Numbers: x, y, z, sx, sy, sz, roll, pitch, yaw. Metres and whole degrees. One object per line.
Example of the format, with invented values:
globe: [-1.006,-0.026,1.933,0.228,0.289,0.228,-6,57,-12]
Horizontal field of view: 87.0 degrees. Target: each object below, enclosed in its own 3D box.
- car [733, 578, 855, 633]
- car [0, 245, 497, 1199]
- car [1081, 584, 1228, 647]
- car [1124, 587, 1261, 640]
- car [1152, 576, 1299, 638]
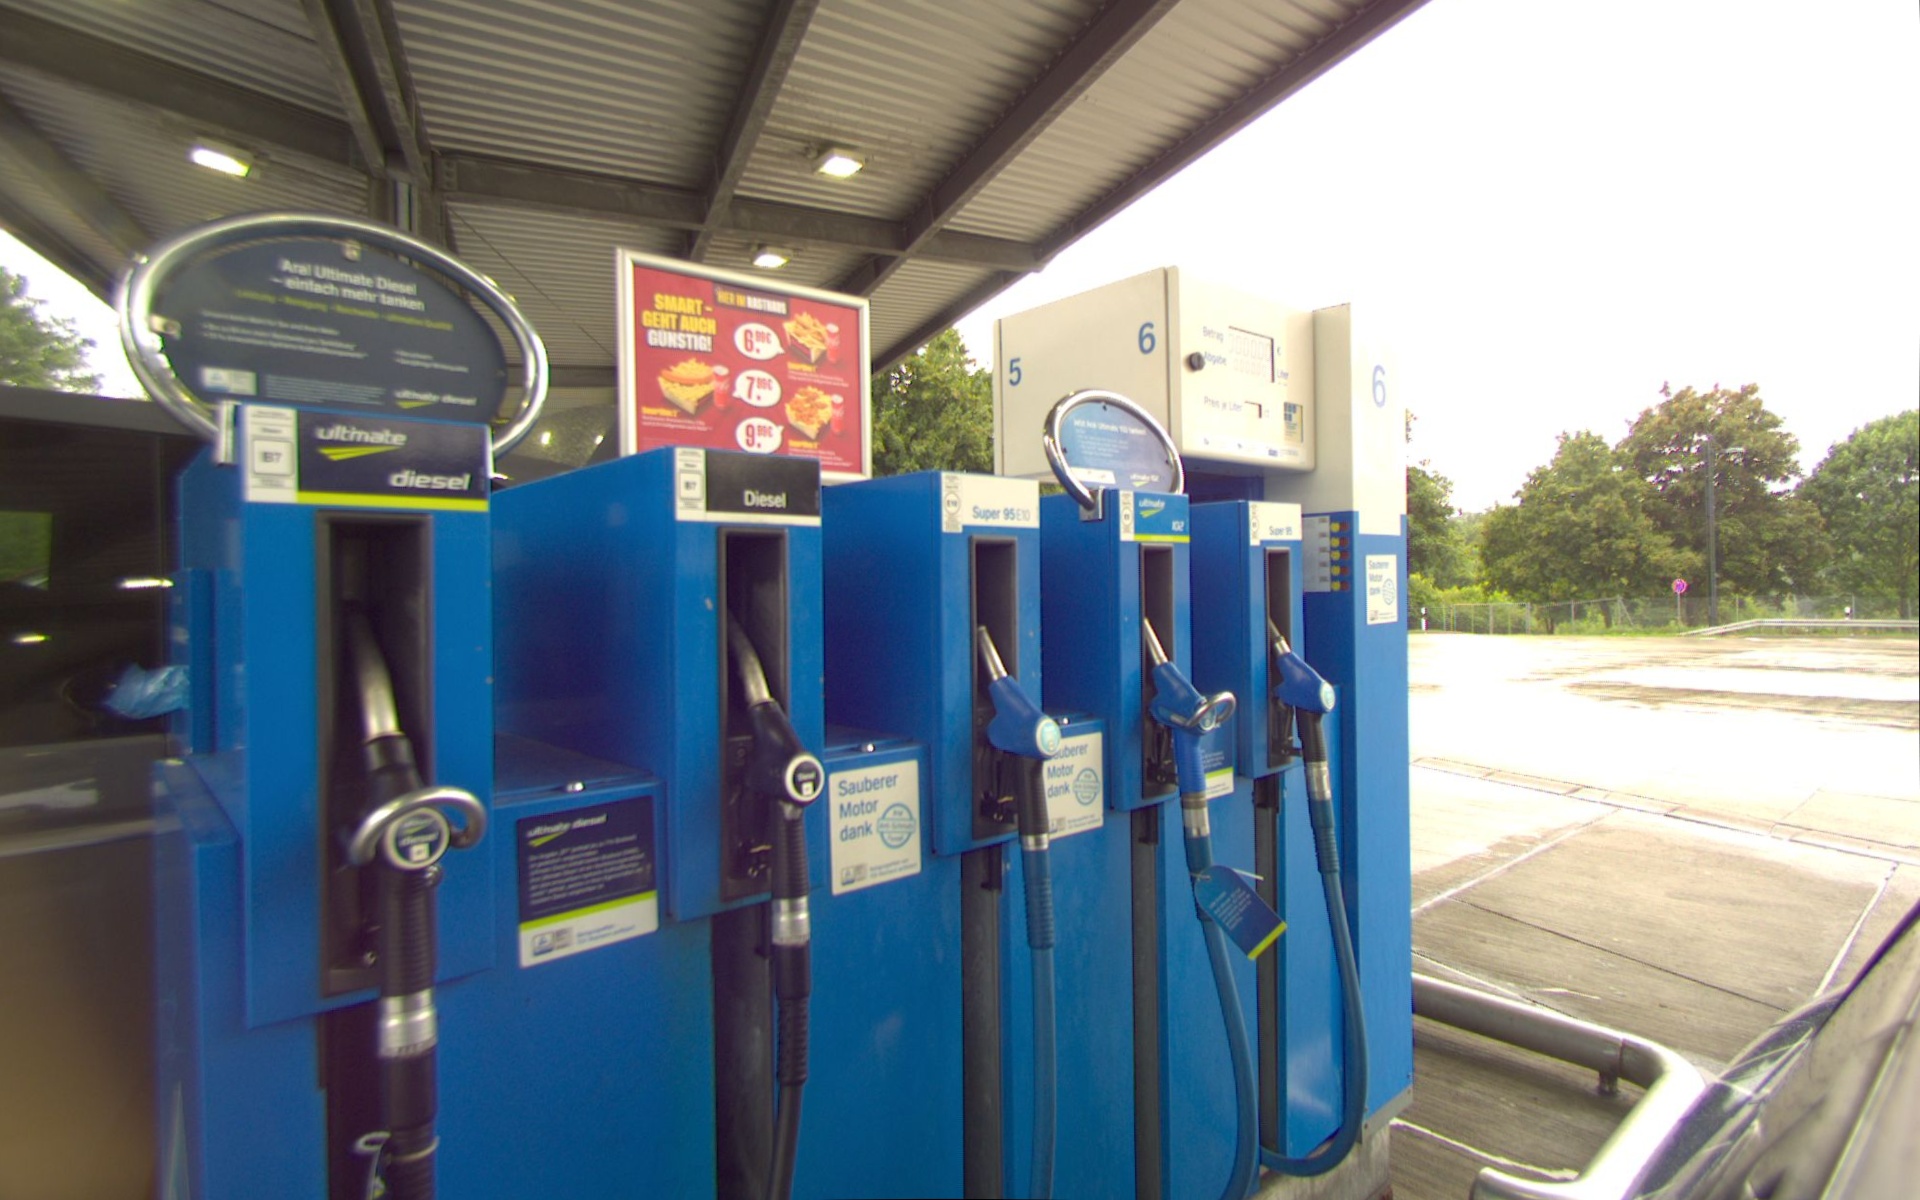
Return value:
car: [-5.521,0.151,33.430,1.967,1.683,4.170,0,0,-44]
car: [-3.025,0.417,1.481,3.930,1.973,1.819,0,0,-41]
car: [5.805,0.421,30.016,4.123,1.752,1.990,0,0,17]
car: [7.393,0.405,32.151,4.123,1.576,1.990,1,0,17]
car: [8.930,0.208,34.336,4.700,2.011,2.007,0,0,14]
